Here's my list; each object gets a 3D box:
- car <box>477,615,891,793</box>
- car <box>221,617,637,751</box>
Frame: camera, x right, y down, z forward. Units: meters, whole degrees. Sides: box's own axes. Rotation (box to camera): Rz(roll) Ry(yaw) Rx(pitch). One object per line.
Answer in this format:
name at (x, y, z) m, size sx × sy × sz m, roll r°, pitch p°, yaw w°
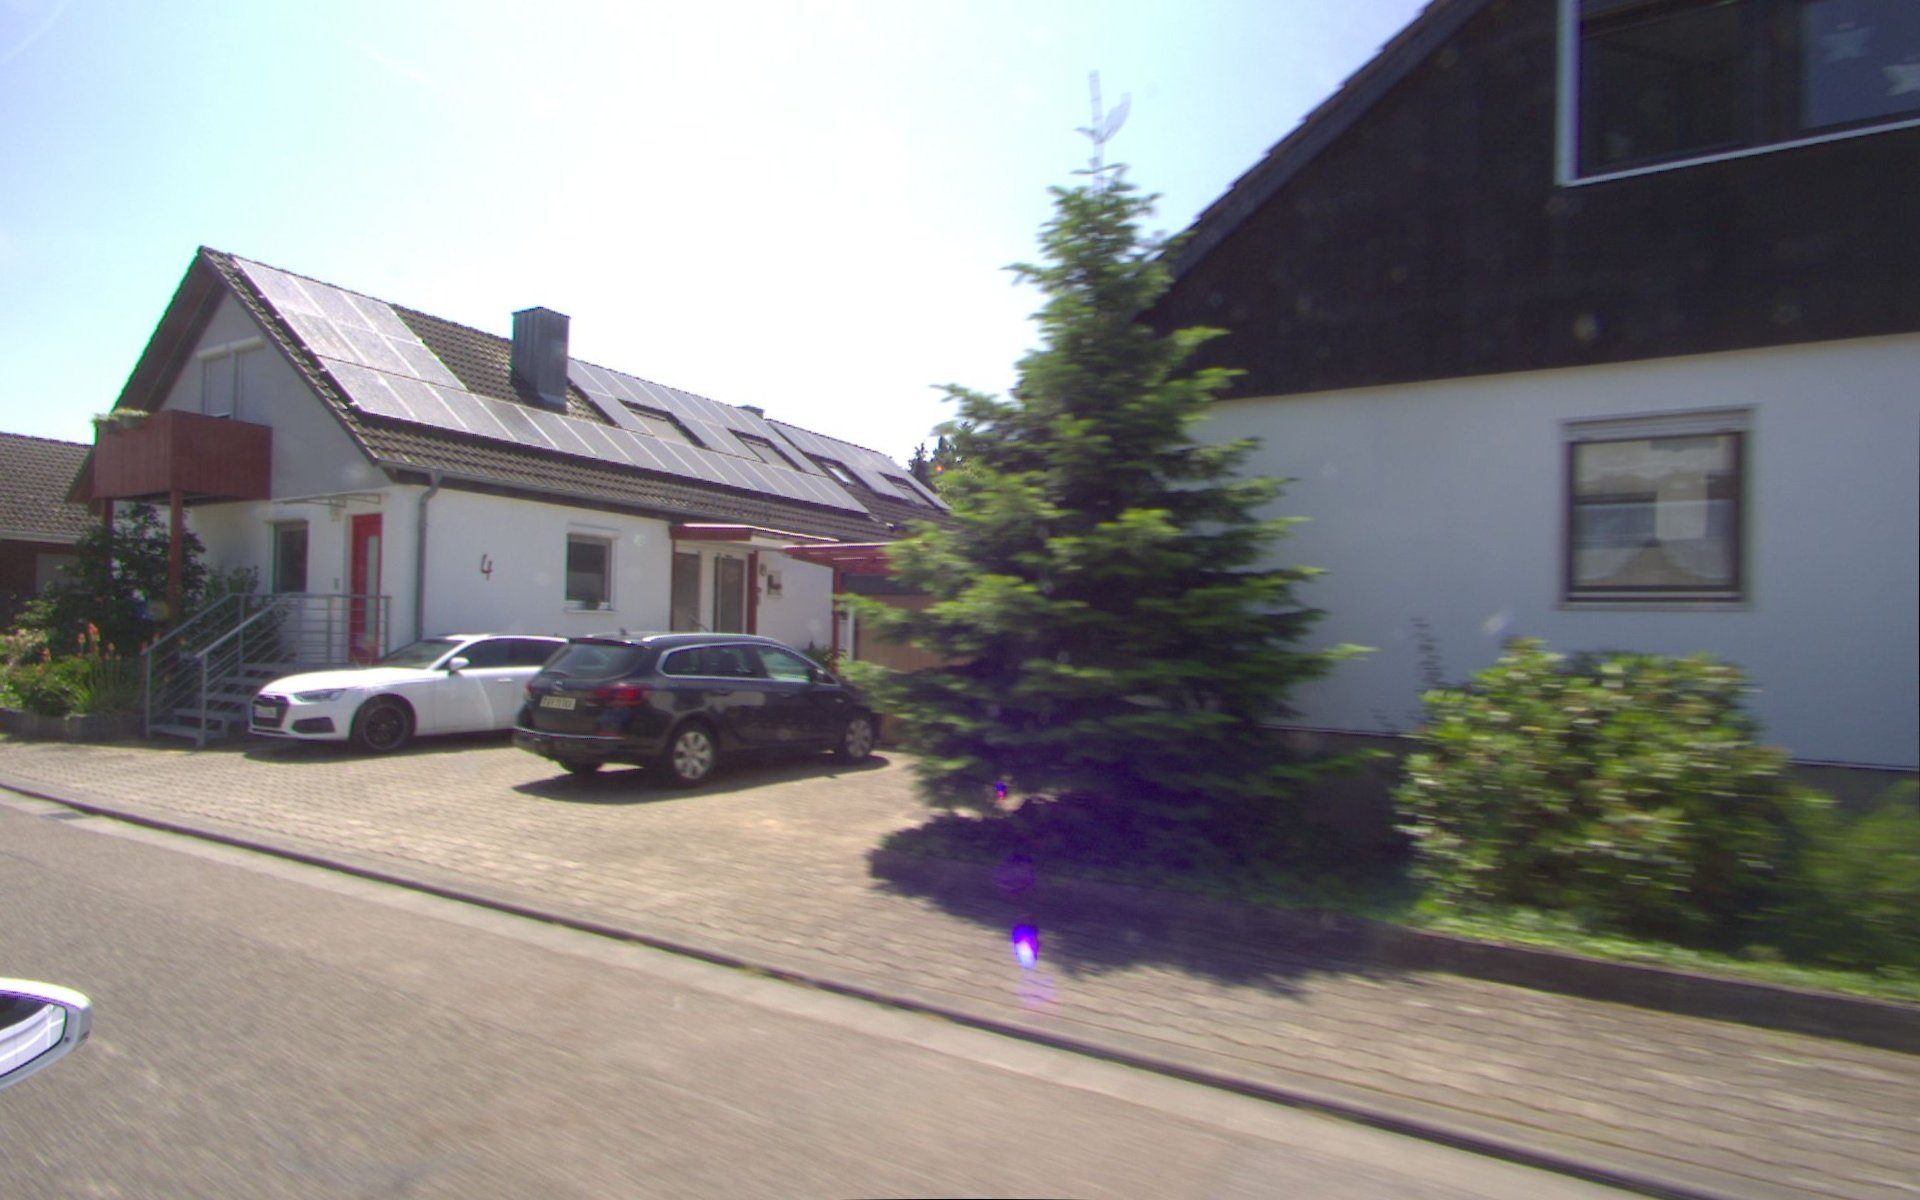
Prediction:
car at (-2.772, 0.991, 11.062) m, size 1.970 × 1.505 × 4.237 m, roll 1°, pitch -1°, yaw 30°
car at (-6.778, 1.023, 13.336) m, size 1.923 × 1.414 × 4.531 m, roll 1°, pitch -2°, yaw 32°
